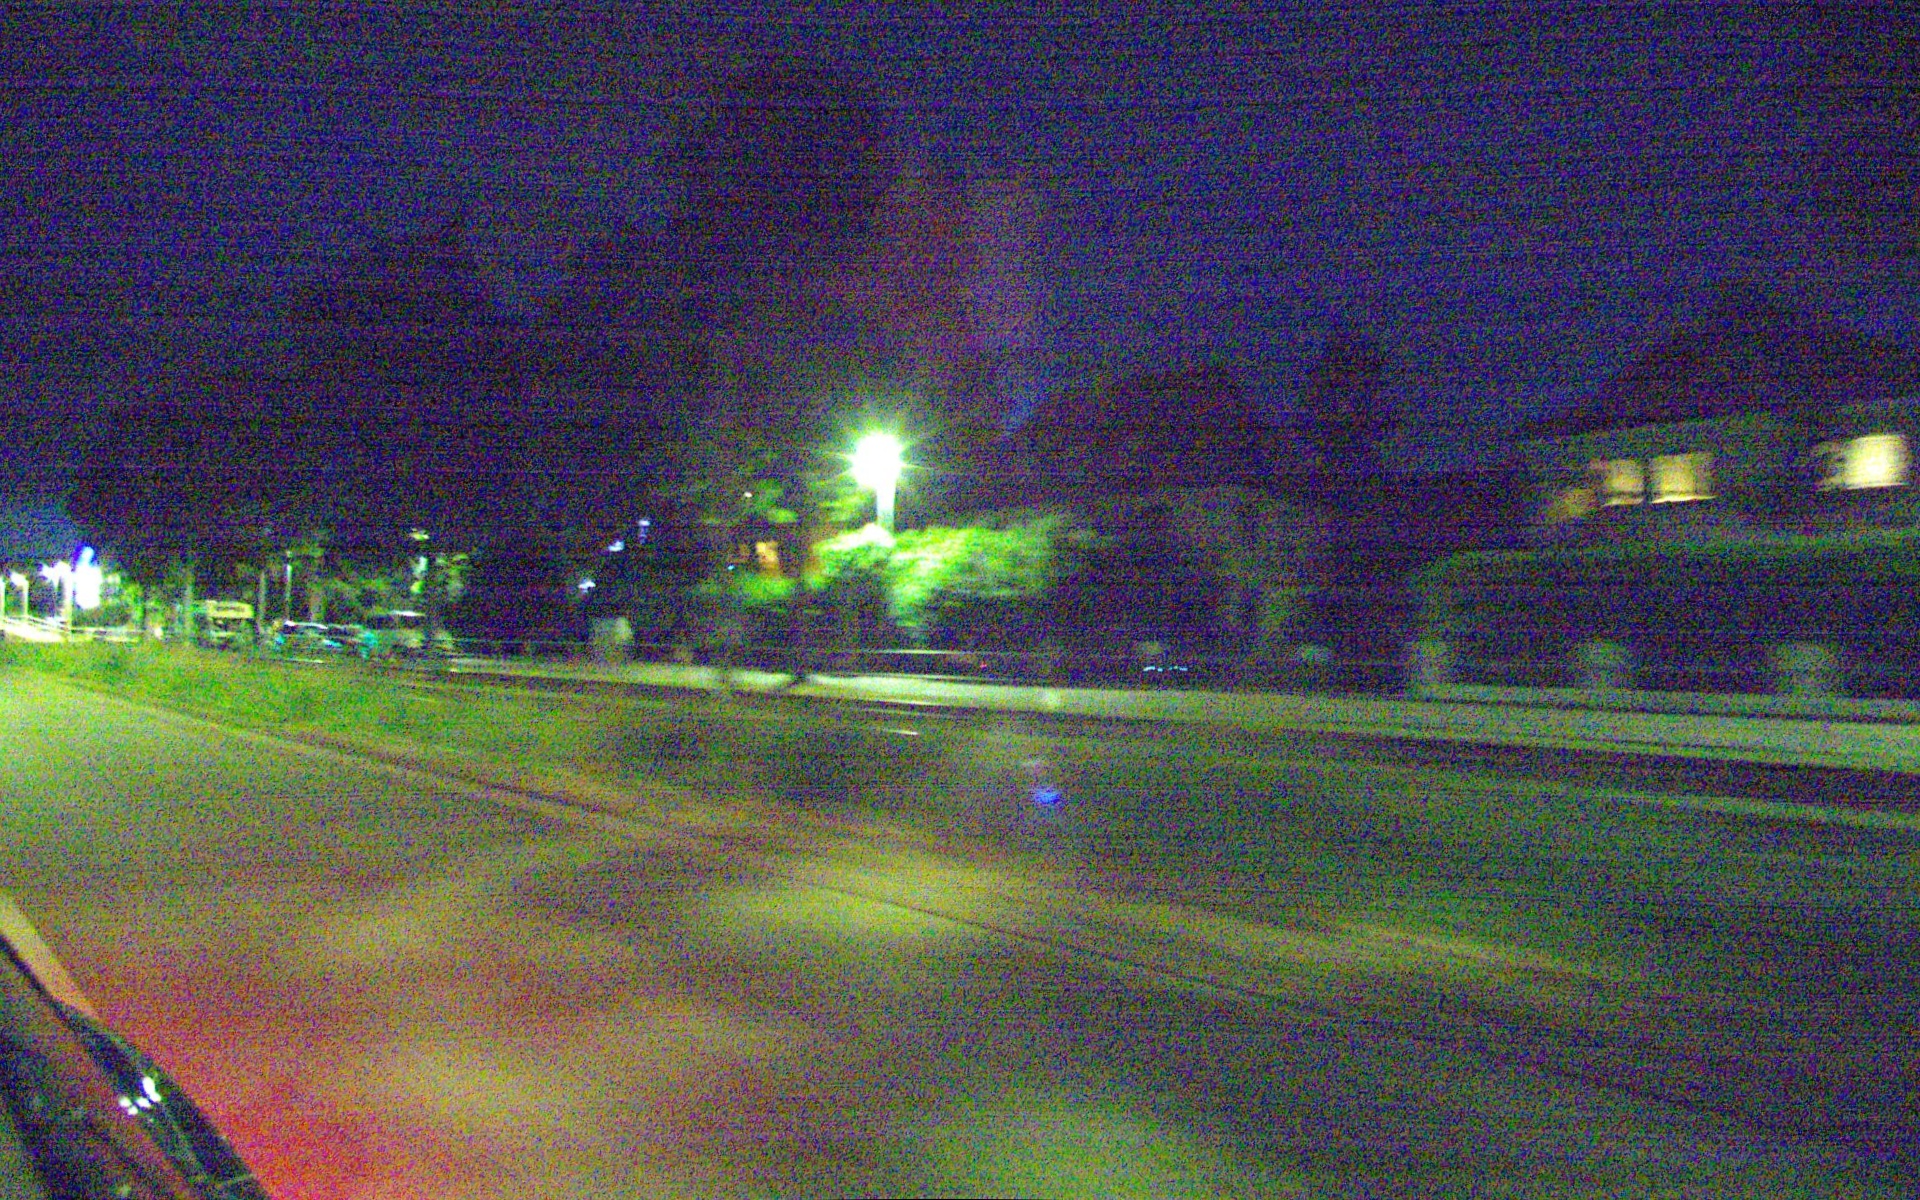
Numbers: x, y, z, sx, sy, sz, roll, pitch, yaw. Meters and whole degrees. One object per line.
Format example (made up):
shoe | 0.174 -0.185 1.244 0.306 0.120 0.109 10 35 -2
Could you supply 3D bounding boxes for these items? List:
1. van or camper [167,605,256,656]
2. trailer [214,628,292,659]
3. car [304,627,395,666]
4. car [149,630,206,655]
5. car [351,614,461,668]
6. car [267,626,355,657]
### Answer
van or camper | -41.104 1.687 55.536 5.653 2.668 2.252 -1 -4 36
trailer | -35.899 2.184 51.325 2.392 1.385 4.657 7 -6 -45
car | -25.348 1.883 41.945 5.171 1.534 1.881 -1 -2 43
car | -46.028 2.476 59.489 4.538 1.350 1.629 -1 -6 40
car | -20.798 1.500 37.923 4.873 1.919 1.839 -1 -2 38
car | -29.321 1.864 45.773 1.530 1.336 3.002 -1 -2 35
